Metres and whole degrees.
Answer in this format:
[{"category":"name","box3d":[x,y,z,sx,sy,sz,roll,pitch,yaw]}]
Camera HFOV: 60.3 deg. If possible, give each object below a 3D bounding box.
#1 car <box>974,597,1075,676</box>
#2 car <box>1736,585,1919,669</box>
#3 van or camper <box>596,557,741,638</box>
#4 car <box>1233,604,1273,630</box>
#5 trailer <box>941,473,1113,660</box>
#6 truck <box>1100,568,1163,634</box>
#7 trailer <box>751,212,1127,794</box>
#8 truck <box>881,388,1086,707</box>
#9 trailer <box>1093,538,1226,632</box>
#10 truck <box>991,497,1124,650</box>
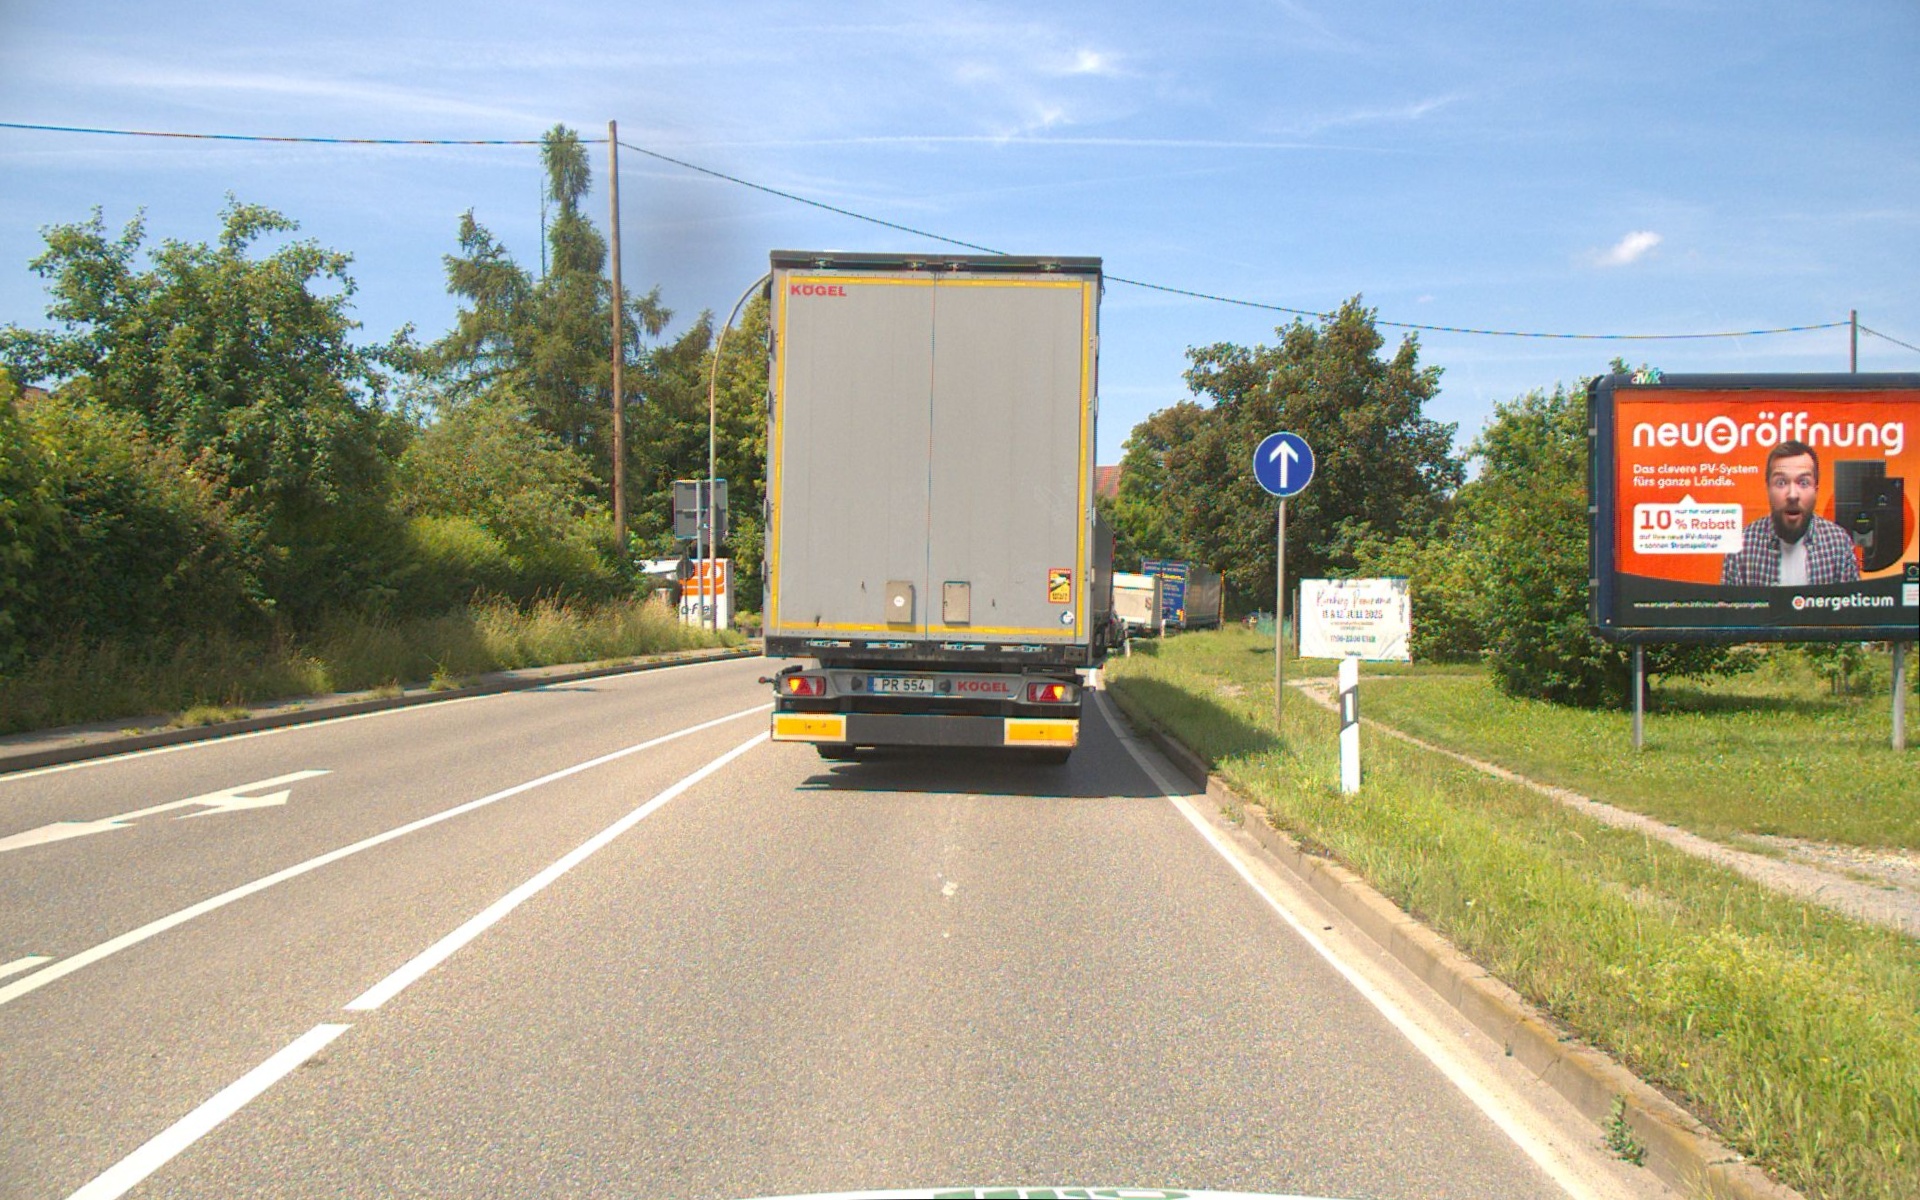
[{"category":"car","box3d":[1.457,0.745,35.993,1.951,1.556,4.003,1,1,5]},{"category":"car","box3d":[22.653,0.675,43.147,3.902,2.049,2.002,1,0,6]},{"category":"van or camper","box3d":[-10.345,-0.115,59.036,4.757,2.762,2.197,1,0,-1]},{"category":"car","box3d":[20.382,1.194,114.951,1.953,1.713,3.999,1,1,23]},{"category":"trailer","box3d":[2.235,-0.840,47.330,3.808,4.600,12.723,1,0,7]},{"category":"truck","box3d":[7.885,0.026,75.537,2.369,2.888,5.417,1,1,11]},{"category":"trailer","box3d":[0.125,-0.786,18.314,2.729,4.278,12.116,1,1,3]},{"category":"truck","box3d":[0.470,-0.735,25.248,2.688,4.238,6.145,1,0,3]},{"category":"trailer","box3d":[11.446,-0.835,92.439,5.069,4.709,15.907,1,1,15]},{"category":"truck","box3d":[3.335,-0.818,54.183,3.853,4.655,7.157,1,0,7]}]
